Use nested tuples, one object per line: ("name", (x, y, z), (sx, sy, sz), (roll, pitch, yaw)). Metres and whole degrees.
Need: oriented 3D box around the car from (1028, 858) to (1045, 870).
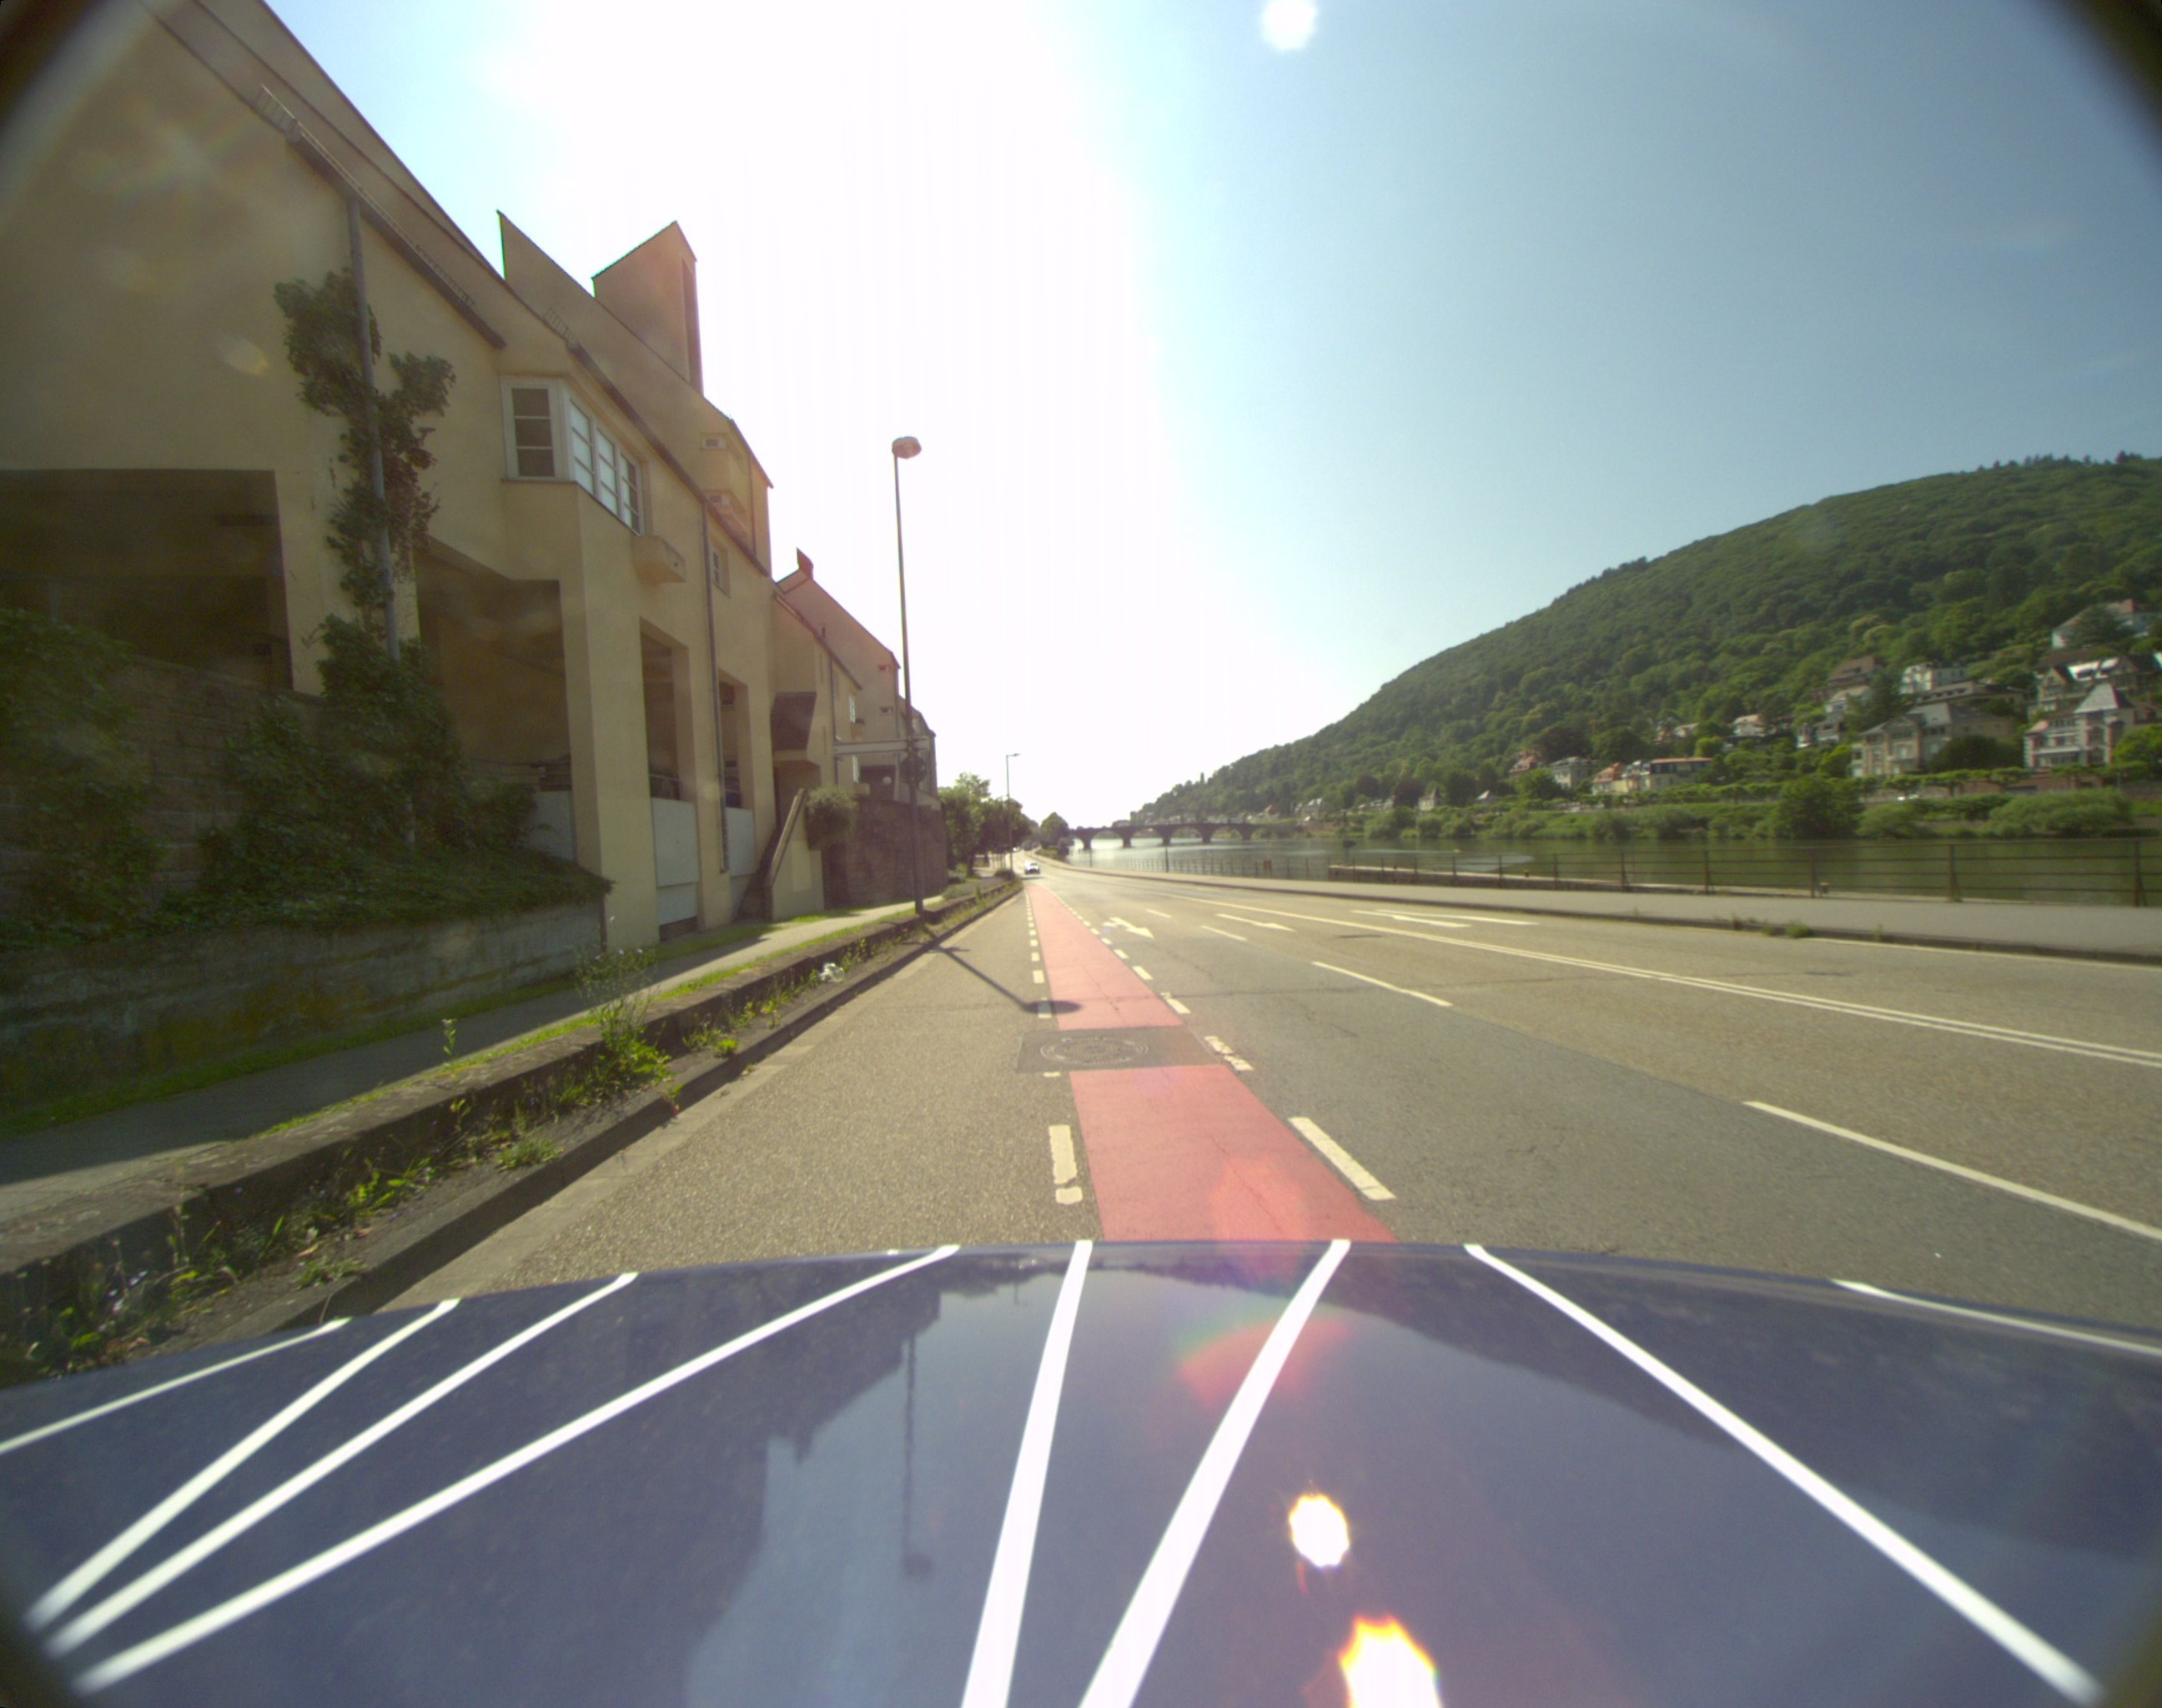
("car", (-5.367, 1.199, 91.524), (1.999, 1.433, 3.998), (-2, 0, -4))
